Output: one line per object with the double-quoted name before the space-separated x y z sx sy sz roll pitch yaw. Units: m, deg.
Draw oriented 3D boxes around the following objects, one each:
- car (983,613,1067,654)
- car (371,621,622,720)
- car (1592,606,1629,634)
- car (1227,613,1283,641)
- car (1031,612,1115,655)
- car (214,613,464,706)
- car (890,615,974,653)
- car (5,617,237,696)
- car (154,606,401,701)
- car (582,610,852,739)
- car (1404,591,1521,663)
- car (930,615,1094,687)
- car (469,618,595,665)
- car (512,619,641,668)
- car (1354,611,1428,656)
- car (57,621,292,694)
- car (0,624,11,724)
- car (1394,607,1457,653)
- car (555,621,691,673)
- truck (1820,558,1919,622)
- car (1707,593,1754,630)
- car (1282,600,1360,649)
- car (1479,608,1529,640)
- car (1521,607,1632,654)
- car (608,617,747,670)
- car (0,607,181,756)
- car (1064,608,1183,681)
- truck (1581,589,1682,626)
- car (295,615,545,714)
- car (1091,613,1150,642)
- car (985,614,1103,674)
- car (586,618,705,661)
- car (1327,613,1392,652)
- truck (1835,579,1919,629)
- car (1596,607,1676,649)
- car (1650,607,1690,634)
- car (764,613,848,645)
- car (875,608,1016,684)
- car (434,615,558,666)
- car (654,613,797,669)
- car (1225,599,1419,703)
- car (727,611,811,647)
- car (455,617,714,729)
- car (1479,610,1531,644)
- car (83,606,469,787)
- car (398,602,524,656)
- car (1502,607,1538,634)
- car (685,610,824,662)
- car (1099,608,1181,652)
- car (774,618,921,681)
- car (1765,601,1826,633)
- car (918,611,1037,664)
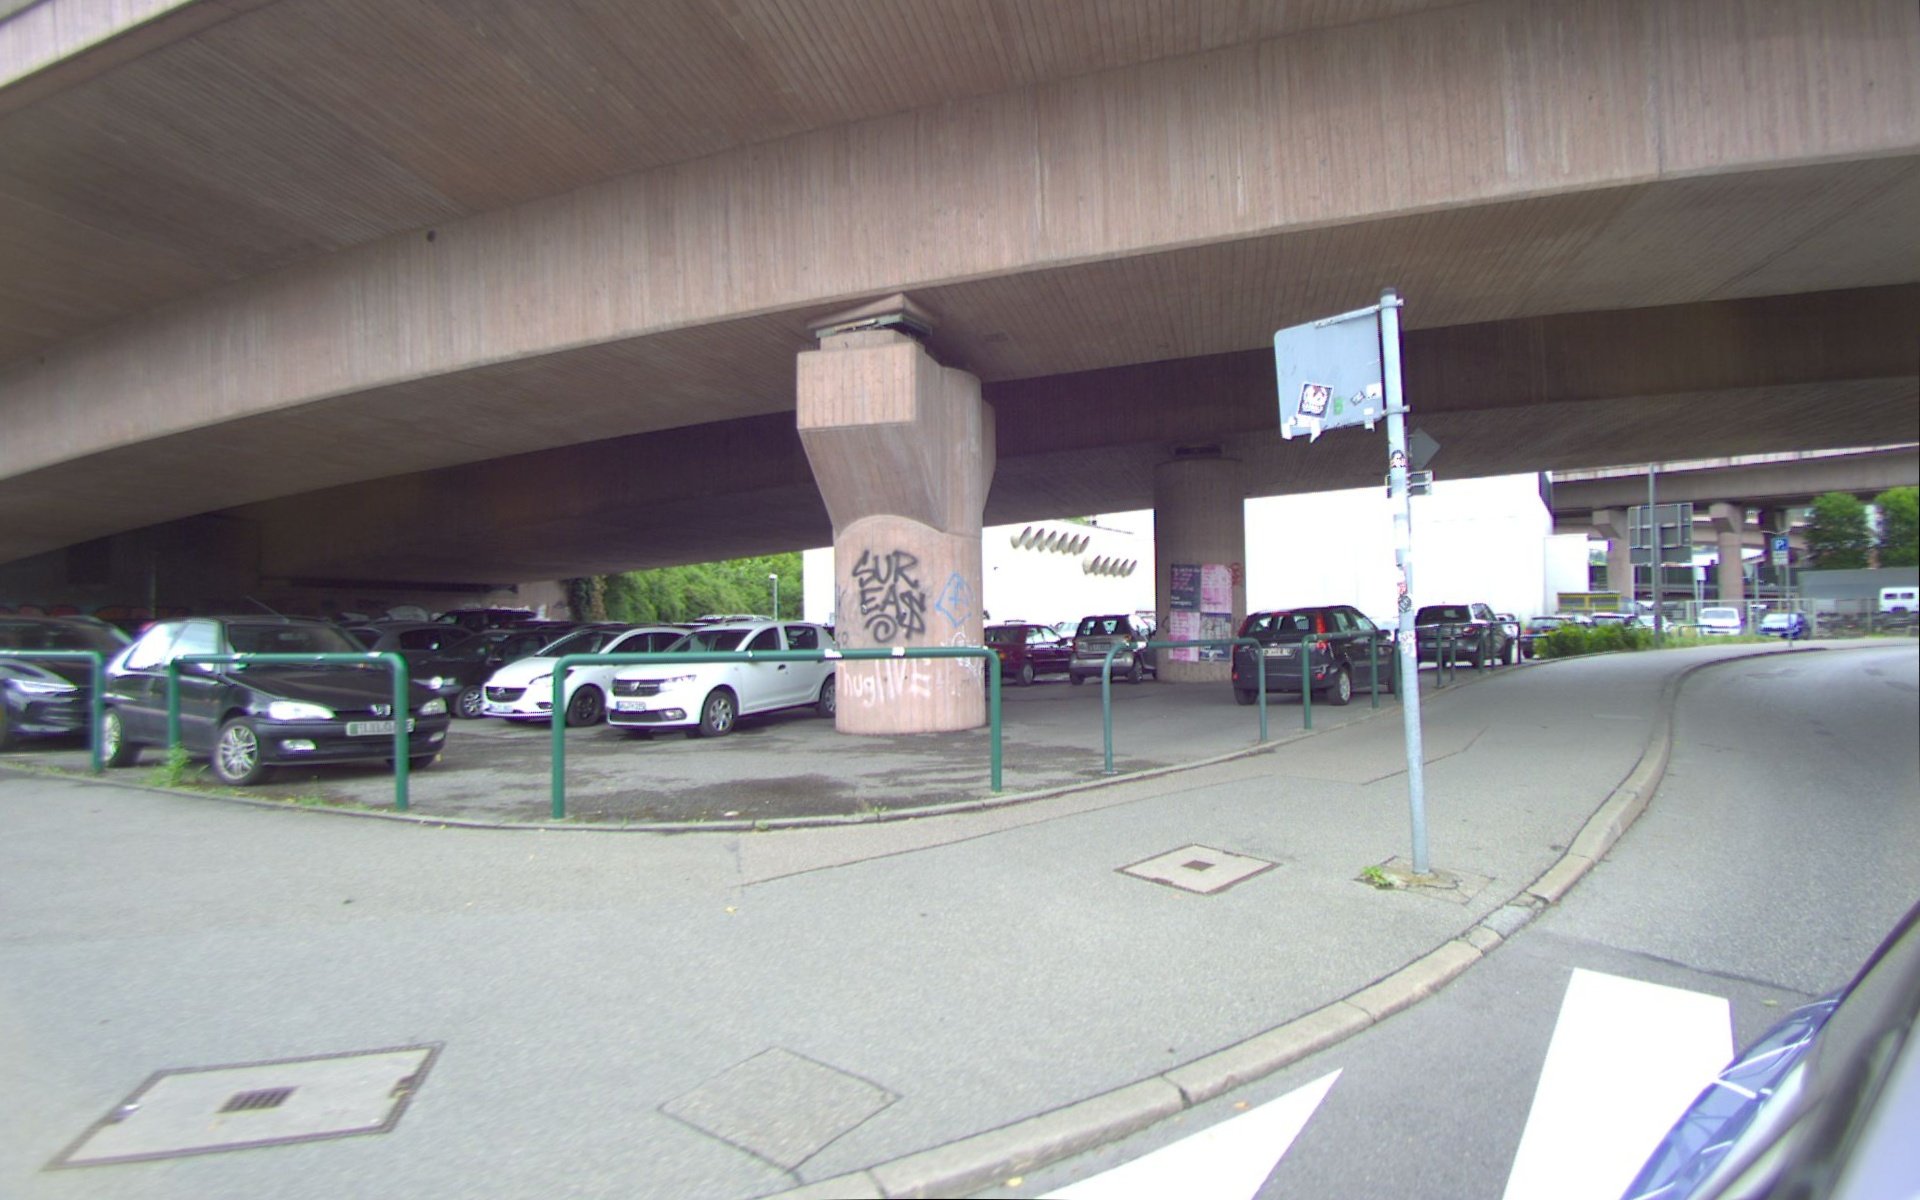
"car" 2.787 1.358 42.294 1.823 1.613 4.146 -1 -1 31
"car" -7.875 1.125 17.553 1.680 1.462 3.829 -1 -1 24
"car" 38.129 1.137 59.347 1.762 1.608 4.309 -1 -1 33
"car" 15.738 1.436 53.908 1.771 1.410 4.386 -1 -1 31
"car" 4.638 1.322 41.012 1.823 1.613 4.146 -1 -1 31
"car" -11.792 1.056 19.500 1.739 1.575 3.829 -1 -1 24
"car" -1.191 1.479 45.068 1.823 1.613 4.146 -1 -1 31
"car" -19.470 1.249 23.673 1.739 1.659 3.829 -1 -1 24
"car" -13.677 1.004 20.530 1.739 1.716 3.829 -1 -1 24
"car" -3.347 0.947 14.677 1.623 1.572 3.972 -1 -1 27
"car" 11.839 0.614 23.775 1.604 1.553 3.359 -4 -3 41
"car" 1.322 1.150 23.781 1.826 1.489 4.324 -3 -2 35
"car" -14.177 1.338 33.680 1.665 1.445 3.622 -1 -1 31
"car" -12.135 1.337 32.235 1.665 1.445 3.622 -1 -1 31
"car" 14.977 1.120 35.061 1.823 1.439 4.146 -1 -1 31
"car" -17.511 1.222 22.763 1.739 1.457 3.829 -1 -1 24
"car" -15.109 1.033 13.982 4.336 1.338 1.753 -2 -2 30
"car" 18.087 1.116 39.242 1.731 1.696 4.421 -1 -1 31
"car" -10.266 1.401 31.050 1.665 1.445 3.819 -1 -1 31
"truck" 68.092 -0.676 71.915 10.064 4.422 3.865 -1 -2 34
"car" 43.337 0.657 56.879 1.885 1.982 4.612 -1 -1 40
"car" 12.886 0.846 35.997 1.823 1.613 4.146 -1 -1 31
"car" 27.687 1.206 51.476 1.826 1.533 4.446 -1 -1 33
"car" 21.230 1.029 34.822 4.169 1.498 1.735 0 -1 -35
"car" -8.342 1.249 30.191 1.823 1.445 3.819 -1 -1 31
"car" -10.726 0.875 11.473 4.211 1.439 1.494 -2 -3 30
"car" 3.800 0.976 23.163 1.517 1.519 3.338 -4 -2 31
"truck" 56.461 0.690 85.206 6.890 2.970 3.009 -1 -2 37
"car" -9.710 1.090 18.518 1.680 1.575 3.829 -1 -1 24
"car" 9.125 1.541 57.256 1.755 1.552 4.438 -1 -1 31
"car" 2.530 1.225 29.505 1.823 1.570 4.146 -1 -1 31
"car" -11.648 1.441 37.736 1.823 1.484 4.146 -1 -1 31
"car" 16.168 1.290 40.834 1.742 1.467 4.410 -1 -1 31
"truck" 57.549 0.247 62.065 5.994 2.923 2.462 -1 -1 -8
"car" 24.973 1.014 37.382 2.708 1.498 1.544 0 -1 -35
"car" 40.247 1.141 57.341 1.765 1.475 4.495 -1 -1 36
"car" -7.375 1.372 48.736 1.823 1.427 4.146 -1 -1 31
"car" -0.282 1.080 25.271 1.823 1.720 3.819 -1 -1 31
"car" -15.924 1.352 34.863 1.665 1.619 3.622 -1 -1 31
"car" -6.534 1.121 28.572 1.823 1.445 3.819 -1 -1 31
"car" 5.657 0.733 15.621 1.604 1.415 3.526 -4 -3 41
"car" -9.384 1.412 49.974 1.823 1.710 4.146 -1 -1 31
"car" -5.783 1.050 16.072 1.680 1.529 3.829 -1 -1 24
"car" 25.385 1.230 47.076 1.843 1.494 4.634 -1 -1 31
"car" -6.234 0.796 9.145 3.669 1.347 1.493 -2 -4 32
"car" -17.803 1.014 36.242 1.868 1.811 3.622 -1 -1 31
"car" 33.716 1.192 60.877 1.612 1.564 3.059 -1 -1 34
"car" -7.235 1.233 36.201 2.074 1.699 5.050 -1 -1 31
"car" 7.078 1.128 39.561 1.823 1.613 4.146 -1 -1 31
"car" -2.810 1.222 25.968 1.823 1.445 3.819 -1 -1 31
"car" 45.279 0.879 54.813 4.602 1.655 1.773 0 -1 -40
"car" 0.615 1.082 30.868 1.823 1.484 4.146 -1 -1 31
